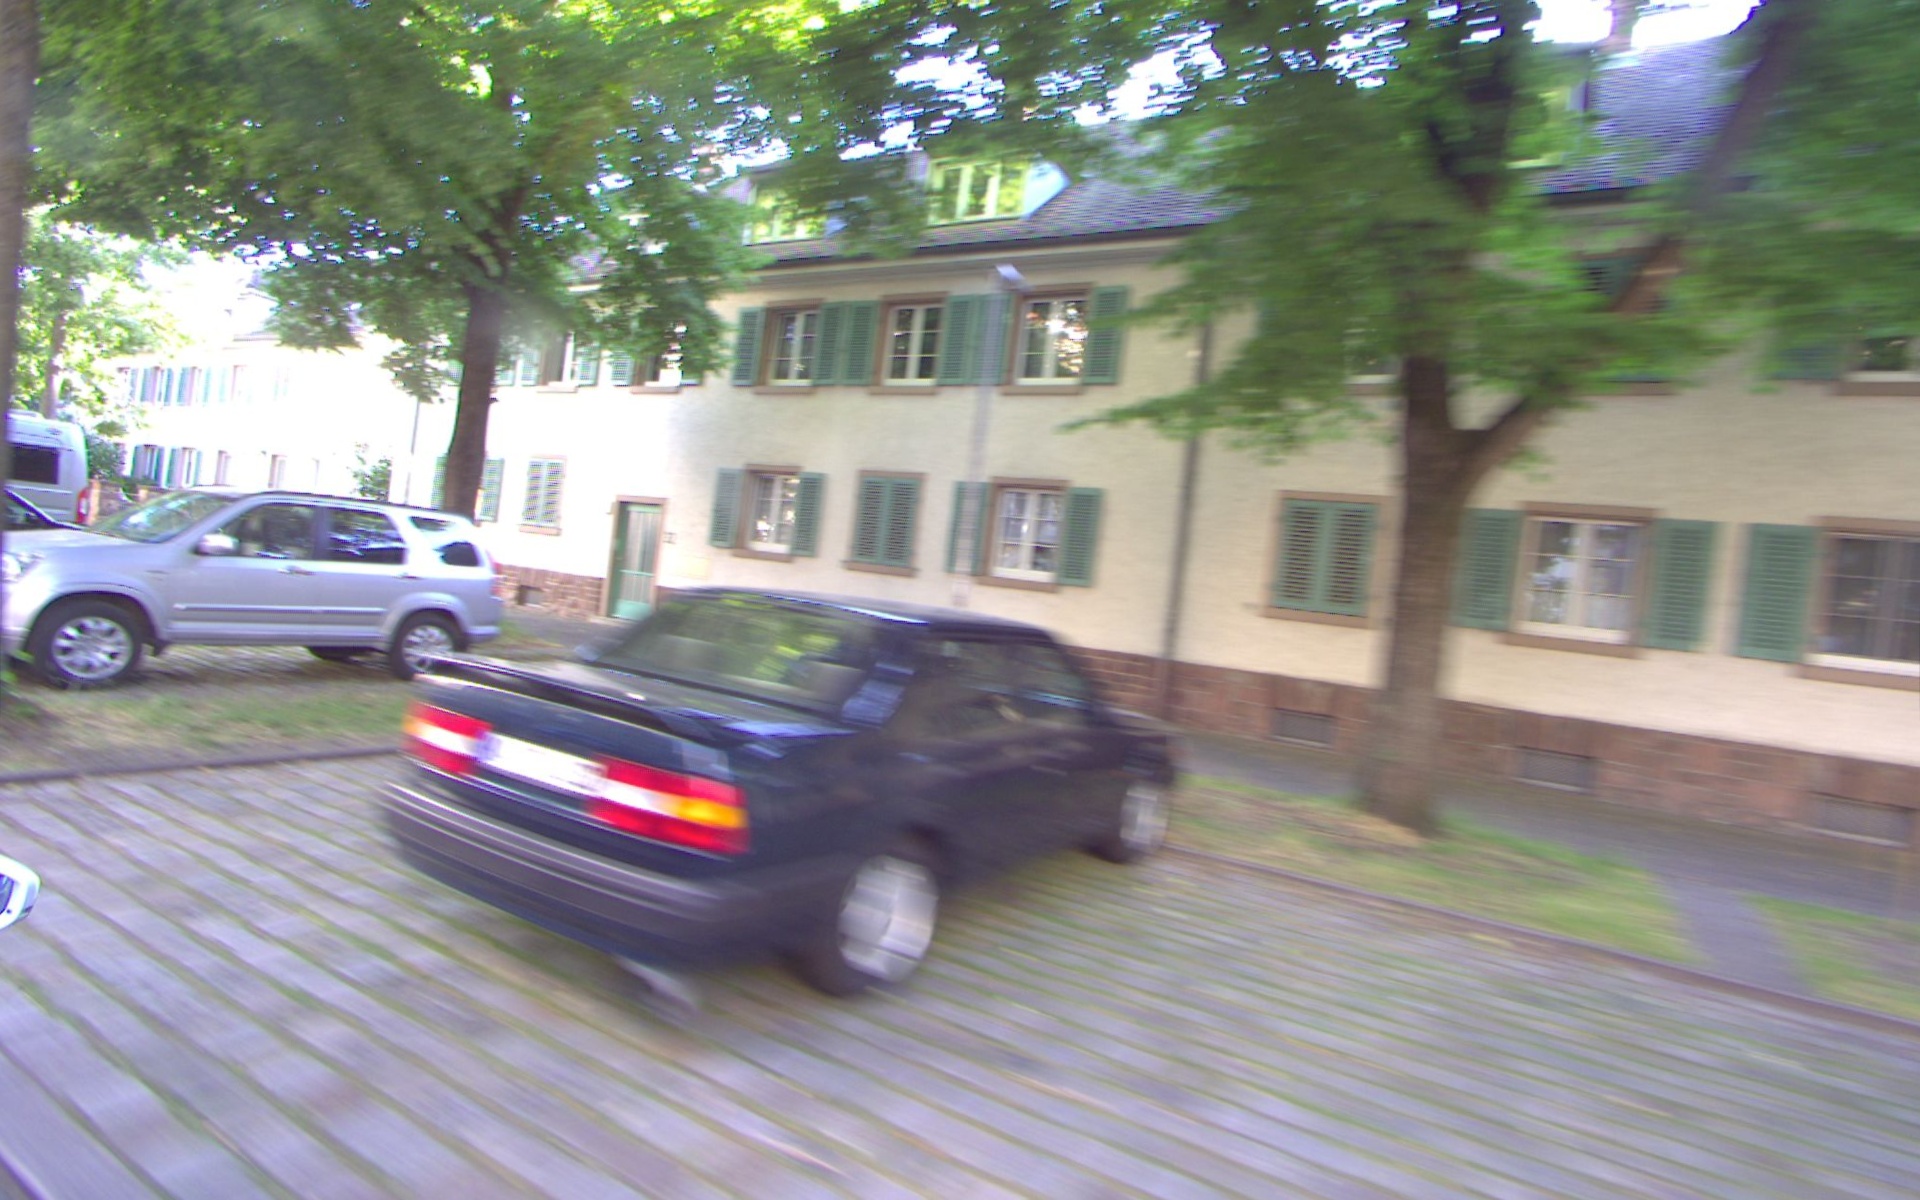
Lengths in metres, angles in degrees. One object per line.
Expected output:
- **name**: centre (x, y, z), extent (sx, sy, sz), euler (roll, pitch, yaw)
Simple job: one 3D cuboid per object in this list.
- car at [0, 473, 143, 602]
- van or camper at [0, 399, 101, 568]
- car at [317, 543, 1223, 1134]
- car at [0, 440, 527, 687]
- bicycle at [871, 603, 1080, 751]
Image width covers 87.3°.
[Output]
- **car**: centre (-12.573, -0.884, 12.353), extent (1.722, 1.490, 3.506), euler (6, 0, 29)
- **van or camper**: centre (-16.759, -2.012, 14.939), extent (2.229, 2.569, 5.580), euler (6, 1, 29)
- **car**: centre (-0.247, 0.711, 5.275), extent (1.909, 1.460, 4.899), euler (6, 1, 29)
- **car**: centre (-6.469, -0.300, 8.957), extent (1.909, 1.692, 4.480), euler (8, 2, 29)
- **bicycle**: centre (0.146, 0.755, 10.238), extent (1.899, 1.177, 0.630), euler (8, 0, 23)
